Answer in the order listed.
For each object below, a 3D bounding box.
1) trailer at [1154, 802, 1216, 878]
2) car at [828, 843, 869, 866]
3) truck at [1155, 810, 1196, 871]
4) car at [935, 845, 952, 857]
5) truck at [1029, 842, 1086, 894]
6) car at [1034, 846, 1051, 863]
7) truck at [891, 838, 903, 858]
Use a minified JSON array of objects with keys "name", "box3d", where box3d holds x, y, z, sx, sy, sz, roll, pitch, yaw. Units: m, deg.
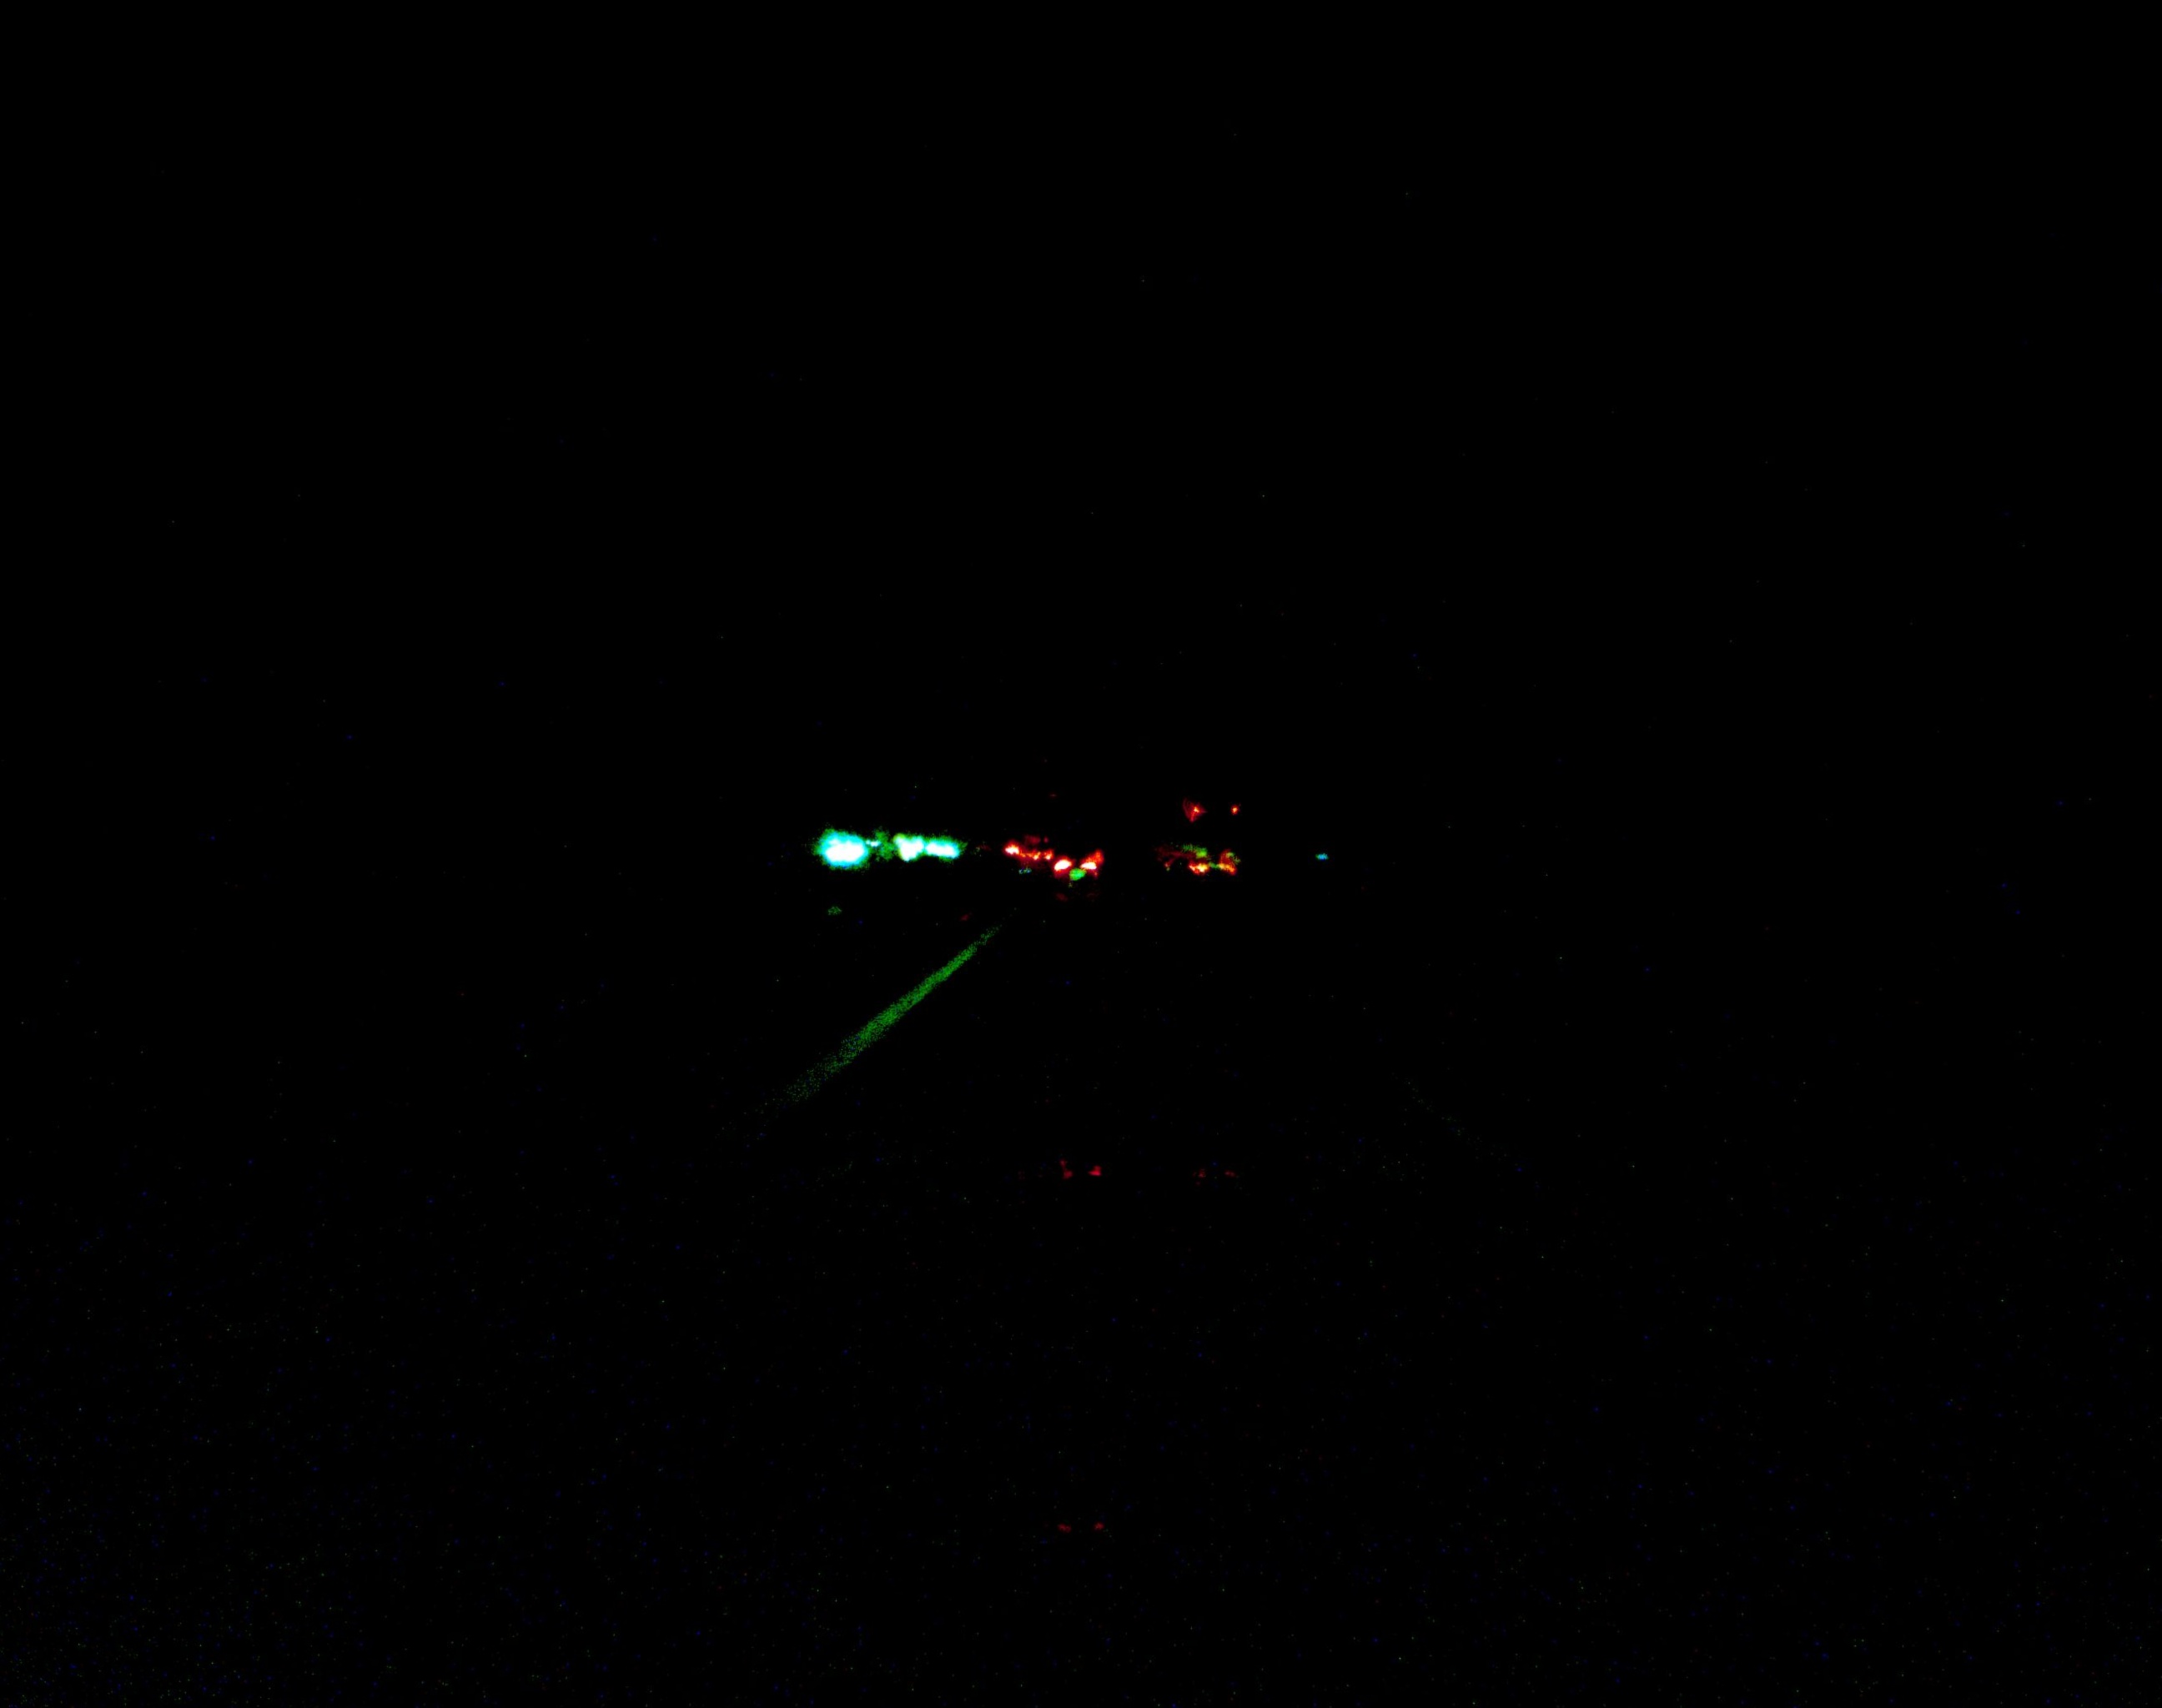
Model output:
[{"name":"trailer","box3d":[6.537,-0.914,53.209,2.728,4.247,13.379,-2,1,2]},{"name":"car","box3d":[-18.335,0.040,64.368,1.987,1.604,4.000,4,1,0]},{"name":"truck","box3d":[6.829,-0.965,59.678,2.699,4.241,5.298,0,0,3]},{"name":"car","box3d":[-20.744,-0.454,123.211,1.989,1.478,3.997,4,1,-3]},{"name":"truck","box3d":[-0.987,0.540,38.577,2.137,2.077,6.608,4,1,2]},{"name":"car","box3d":[-4.551,0.084,95.981,1.989,2.014,3.996,-1,0,-3]},{"name":"truck","box3d":[-49.377,-1.693,218.585,2.757,5.097,5.852,3,1,-16]}]
